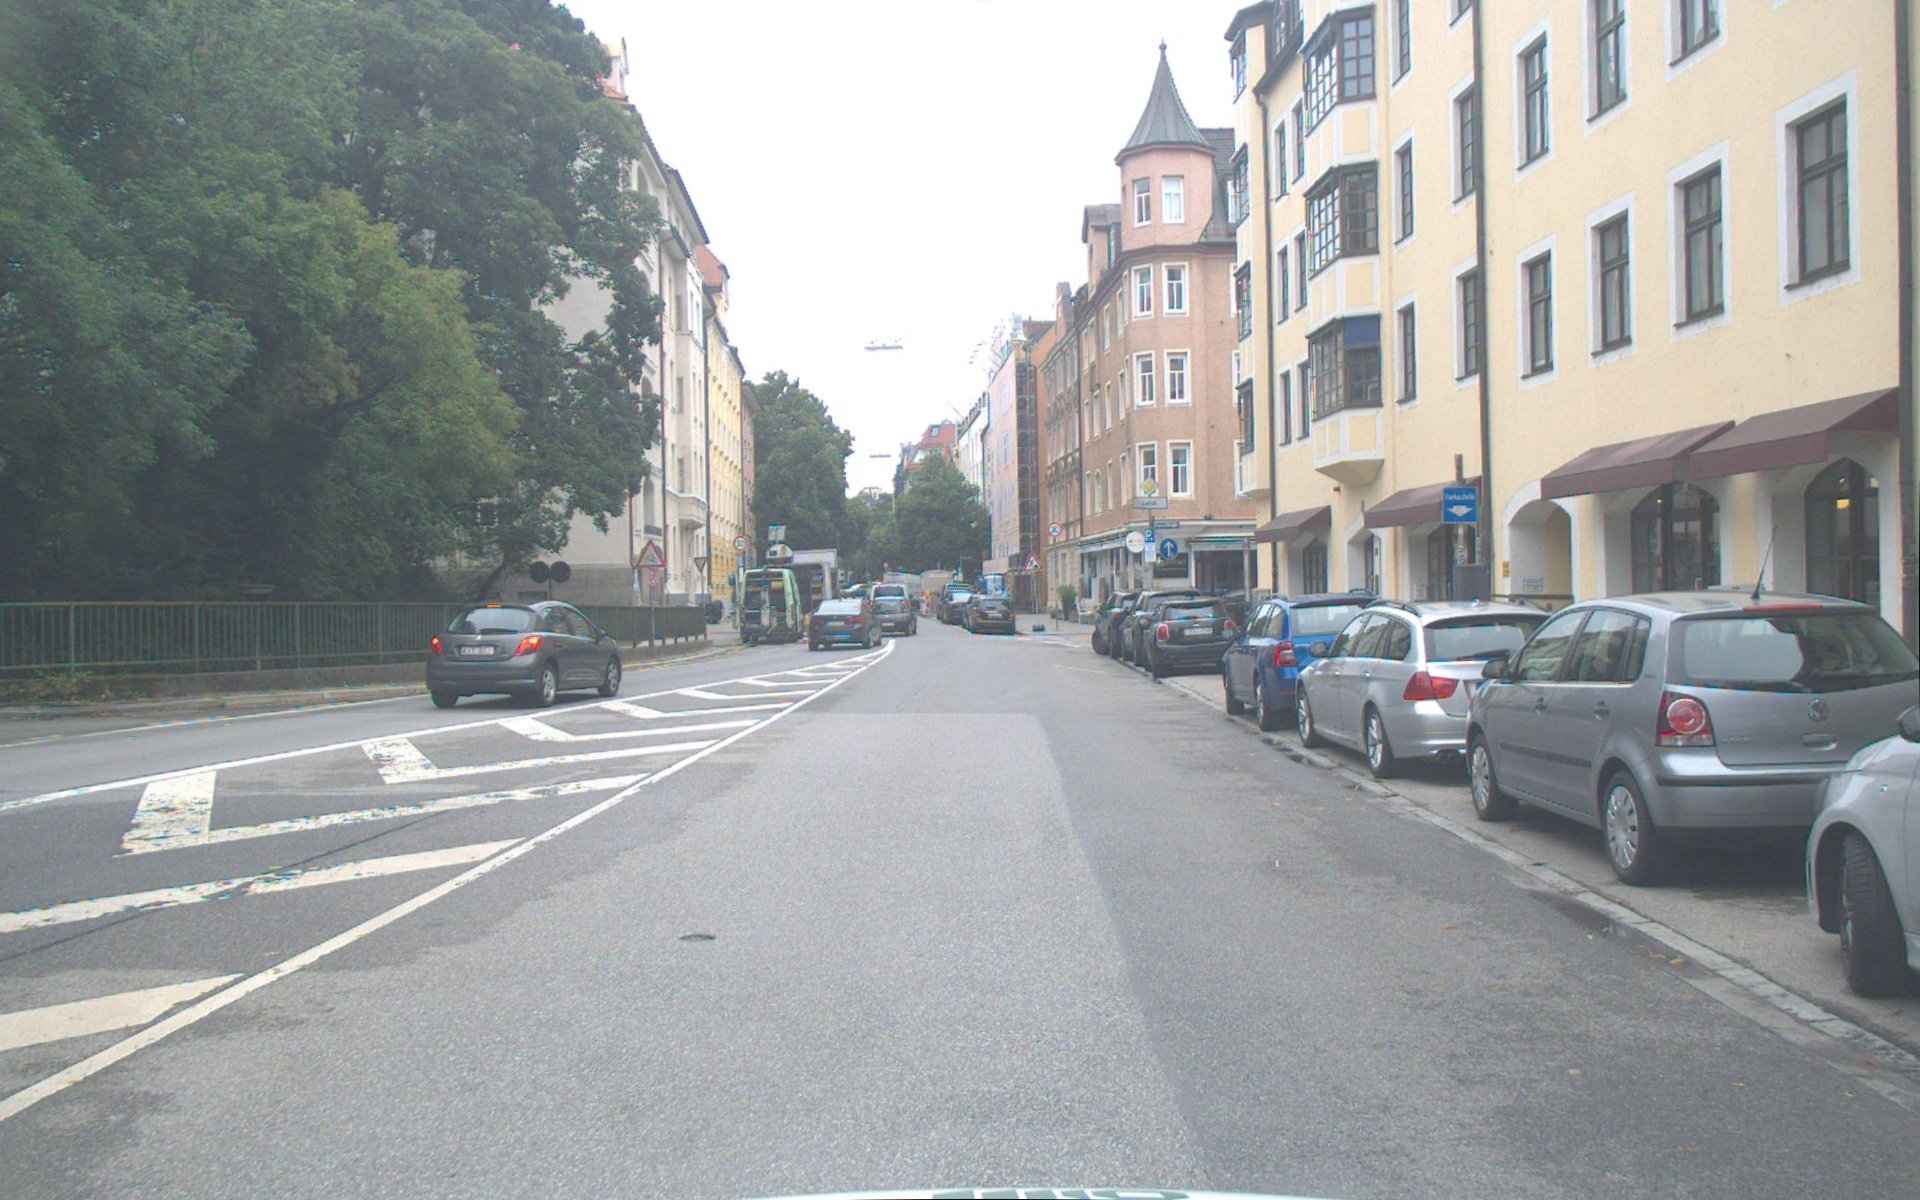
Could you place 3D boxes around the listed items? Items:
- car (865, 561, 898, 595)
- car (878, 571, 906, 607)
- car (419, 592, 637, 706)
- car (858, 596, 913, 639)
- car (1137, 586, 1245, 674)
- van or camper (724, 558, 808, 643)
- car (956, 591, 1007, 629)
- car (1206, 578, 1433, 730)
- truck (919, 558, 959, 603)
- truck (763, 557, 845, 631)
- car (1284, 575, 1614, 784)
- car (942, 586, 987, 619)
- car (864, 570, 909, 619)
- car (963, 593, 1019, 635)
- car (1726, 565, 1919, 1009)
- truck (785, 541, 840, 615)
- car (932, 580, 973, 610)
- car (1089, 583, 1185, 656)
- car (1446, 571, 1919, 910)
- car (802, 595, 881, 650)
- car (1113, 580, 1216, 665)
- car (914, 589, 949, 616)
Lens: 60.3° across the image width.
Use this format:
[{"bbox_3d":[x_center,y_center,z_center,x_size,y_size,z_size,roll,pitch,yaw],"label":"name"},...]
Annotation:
[{"bbox_3d":[-4.938,-1.381,104.024,1.954,2.049,3.997,-2,1,-4],"label":"car"},{"bbox_3d":[-4.830,-0.769,117.660,1.900,2.523,4.781,-1,0,-2],"label":"car"},{"bbox_3d":[-6.216,0.659,24.310,1.721,1.486,4.077,-1,0,6],"label":"car"},{"bbox_3d":[-2.793,0.635,62.187,1.950,1.454,4.139,-1,1,-3],"label":"car"},{"bbox_3d":[4.420,0.533,32.134,1.720,1.522,3.825,-3,0,3],"label":"car"},{"bbox_3d":[-6.977,-0.046,60.215,2.548,2.889,6.183,-1,1,-3],"label":"van or camper"},{"bbox_3d":[0.899,0.413,71.292,1.808,1.454,4.137,2,1,-4],"label":"car"},{"bbox_3d":[4.114,0.555,19.632,1.720,1.522,4.488,-3,0,1],"label":"car"},{"bbox_3d":[-1.464,-1.316,113.901,2.442,3.025,5.324,-1,0,-4],"label":"truck"},{"bbox_3d":[-6.574,-0.333,70.657,2.716,2.923,7.203,-1,1,0],"label":"truck"},{"bbox_3d":[4.163,0.593,14.840,1.656,1.522,4.434,-3,0,1],"label":"car"},{"bbox_3d":[0.177,0.116,80.023,1.808,1.454,4.303,2,1,-4],"label":"car"},{"bbox_3d":[-3.345,-0.295,75.606,1.950,2.111,4.139,-1,1,-3],"label":"car"},{"bbox_3d":[1.196,0.526,65.410,1.808,1.454,4.180,2,1,-4],"label":"car"},{"bbox_3d":[4.084,0.625,5.177,1.594,1.522,3.821,-3,0,1],"label":"car"},{"bbox_3d":[-8.302,-1.236,93.749,2.953,4.021,6.989,-1,0,-5],"label":"truck"},{"bbox_3d":[-0.417,-0.304,87.918,1.950,1.454,4.139,-1,1,-3],"label":"car"},{"bbox_3d":[4.471,0.463,42.401,1.782,1.708,4.509,-3,0,-2],"label":"car"},{"bbox_3d":[4.195,0.644,9.664,1.594,1.522,3.787,-3,0,1],"label":"car"},{"bbox_3d":[-3.524,0.633,50.013,1.949,1.454,4.906,-1,1,0],"label":"car"},{"bbox_3d":[4.529,0.466,37.178,1.720,1.708,4.707,-3,0,1],"label":"car"},{"bbox_3d":[-1.700,0.145,97.681,1.950,1.454,4.139,-1,1,-3],"label":"car"}]
